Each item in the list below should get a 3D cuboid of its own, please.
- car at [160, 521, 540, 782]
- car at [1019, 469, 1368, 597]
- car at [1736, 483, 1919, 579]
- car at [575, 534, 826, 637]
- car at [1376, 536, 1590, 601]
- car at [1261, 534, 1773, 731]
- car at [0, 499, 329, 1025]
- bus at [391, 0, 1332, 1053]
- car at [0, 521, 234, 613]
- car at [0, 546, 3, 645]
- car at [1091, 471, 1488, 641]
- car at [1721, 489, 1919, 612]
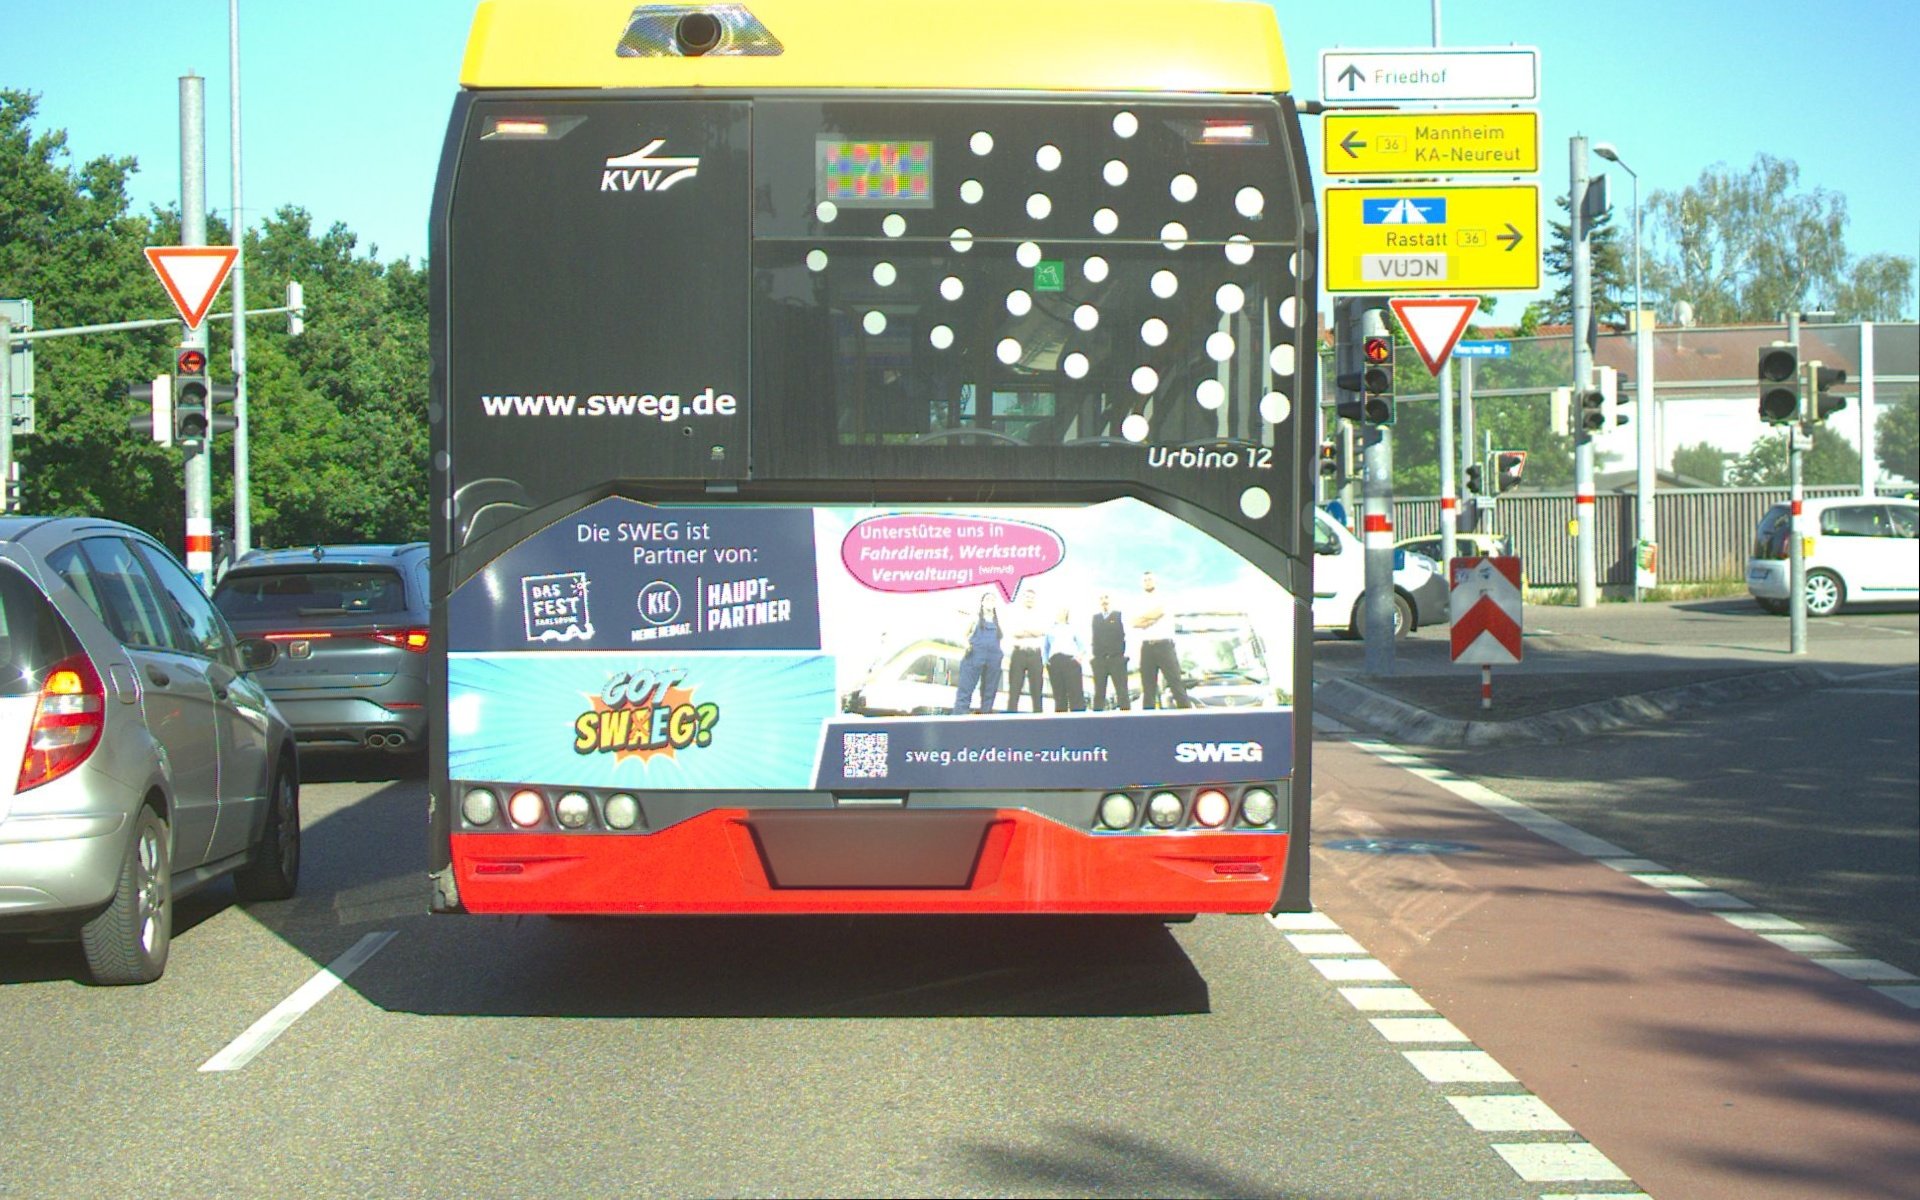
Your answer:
[{"bbox_3d":[-3.731,0.281,21.595,1.588,1.480,3.682,-1,0,2],"label":"car"},{"bbox_3d":[2.947,-0.844,43.929,4.220,1.557,1.764,1,0,-5],"label":"car"},{"bbox_3d":[13.210,-0.947,48.413,4.159,1.298,1.575,1,0,-3],"label":"car"},{"bbox_3d":[-4.236,-0.257,55.856,3.986,1.606,1.696,-1,1,-6],"label":"car"},{"bbox_3d":[9.409,-0.577,62.021,3.757,1.132,1.574,0,1,7],"label":"car"},{"bbox_3d":[3.993,0.205,24.854,3.523,1.297,1.574,1,2,8],"label":"car"},{"bbox_3d":[-3.596,0.461,12.869,1.754,1.614,4.034,-1,2,-1],"label":"car"},{"bbox_3d":[-0.345,-0.533,15.566,2.596,3.323,11.984,1,1,-1],"label":"bus"},{"bbox_3d":[-12.861,-0.481,50.080,4.288,1.297,1.575,0,1,-3],"label":"car"},{"bbox_3d":[-17.485,-0.045,54.911,3.986,1.606,1.696,-1,1,-6],"label":"car"},{"bbox_3d":[3.623,-0.493,38.018,4.110,1.795,1.458,-1,0,-9],"label":"car"},{"bbox_3d":[11.518,-0.624,42.764,3.669,1.480,1.594,-1,0,-6],"label":"car"}]
